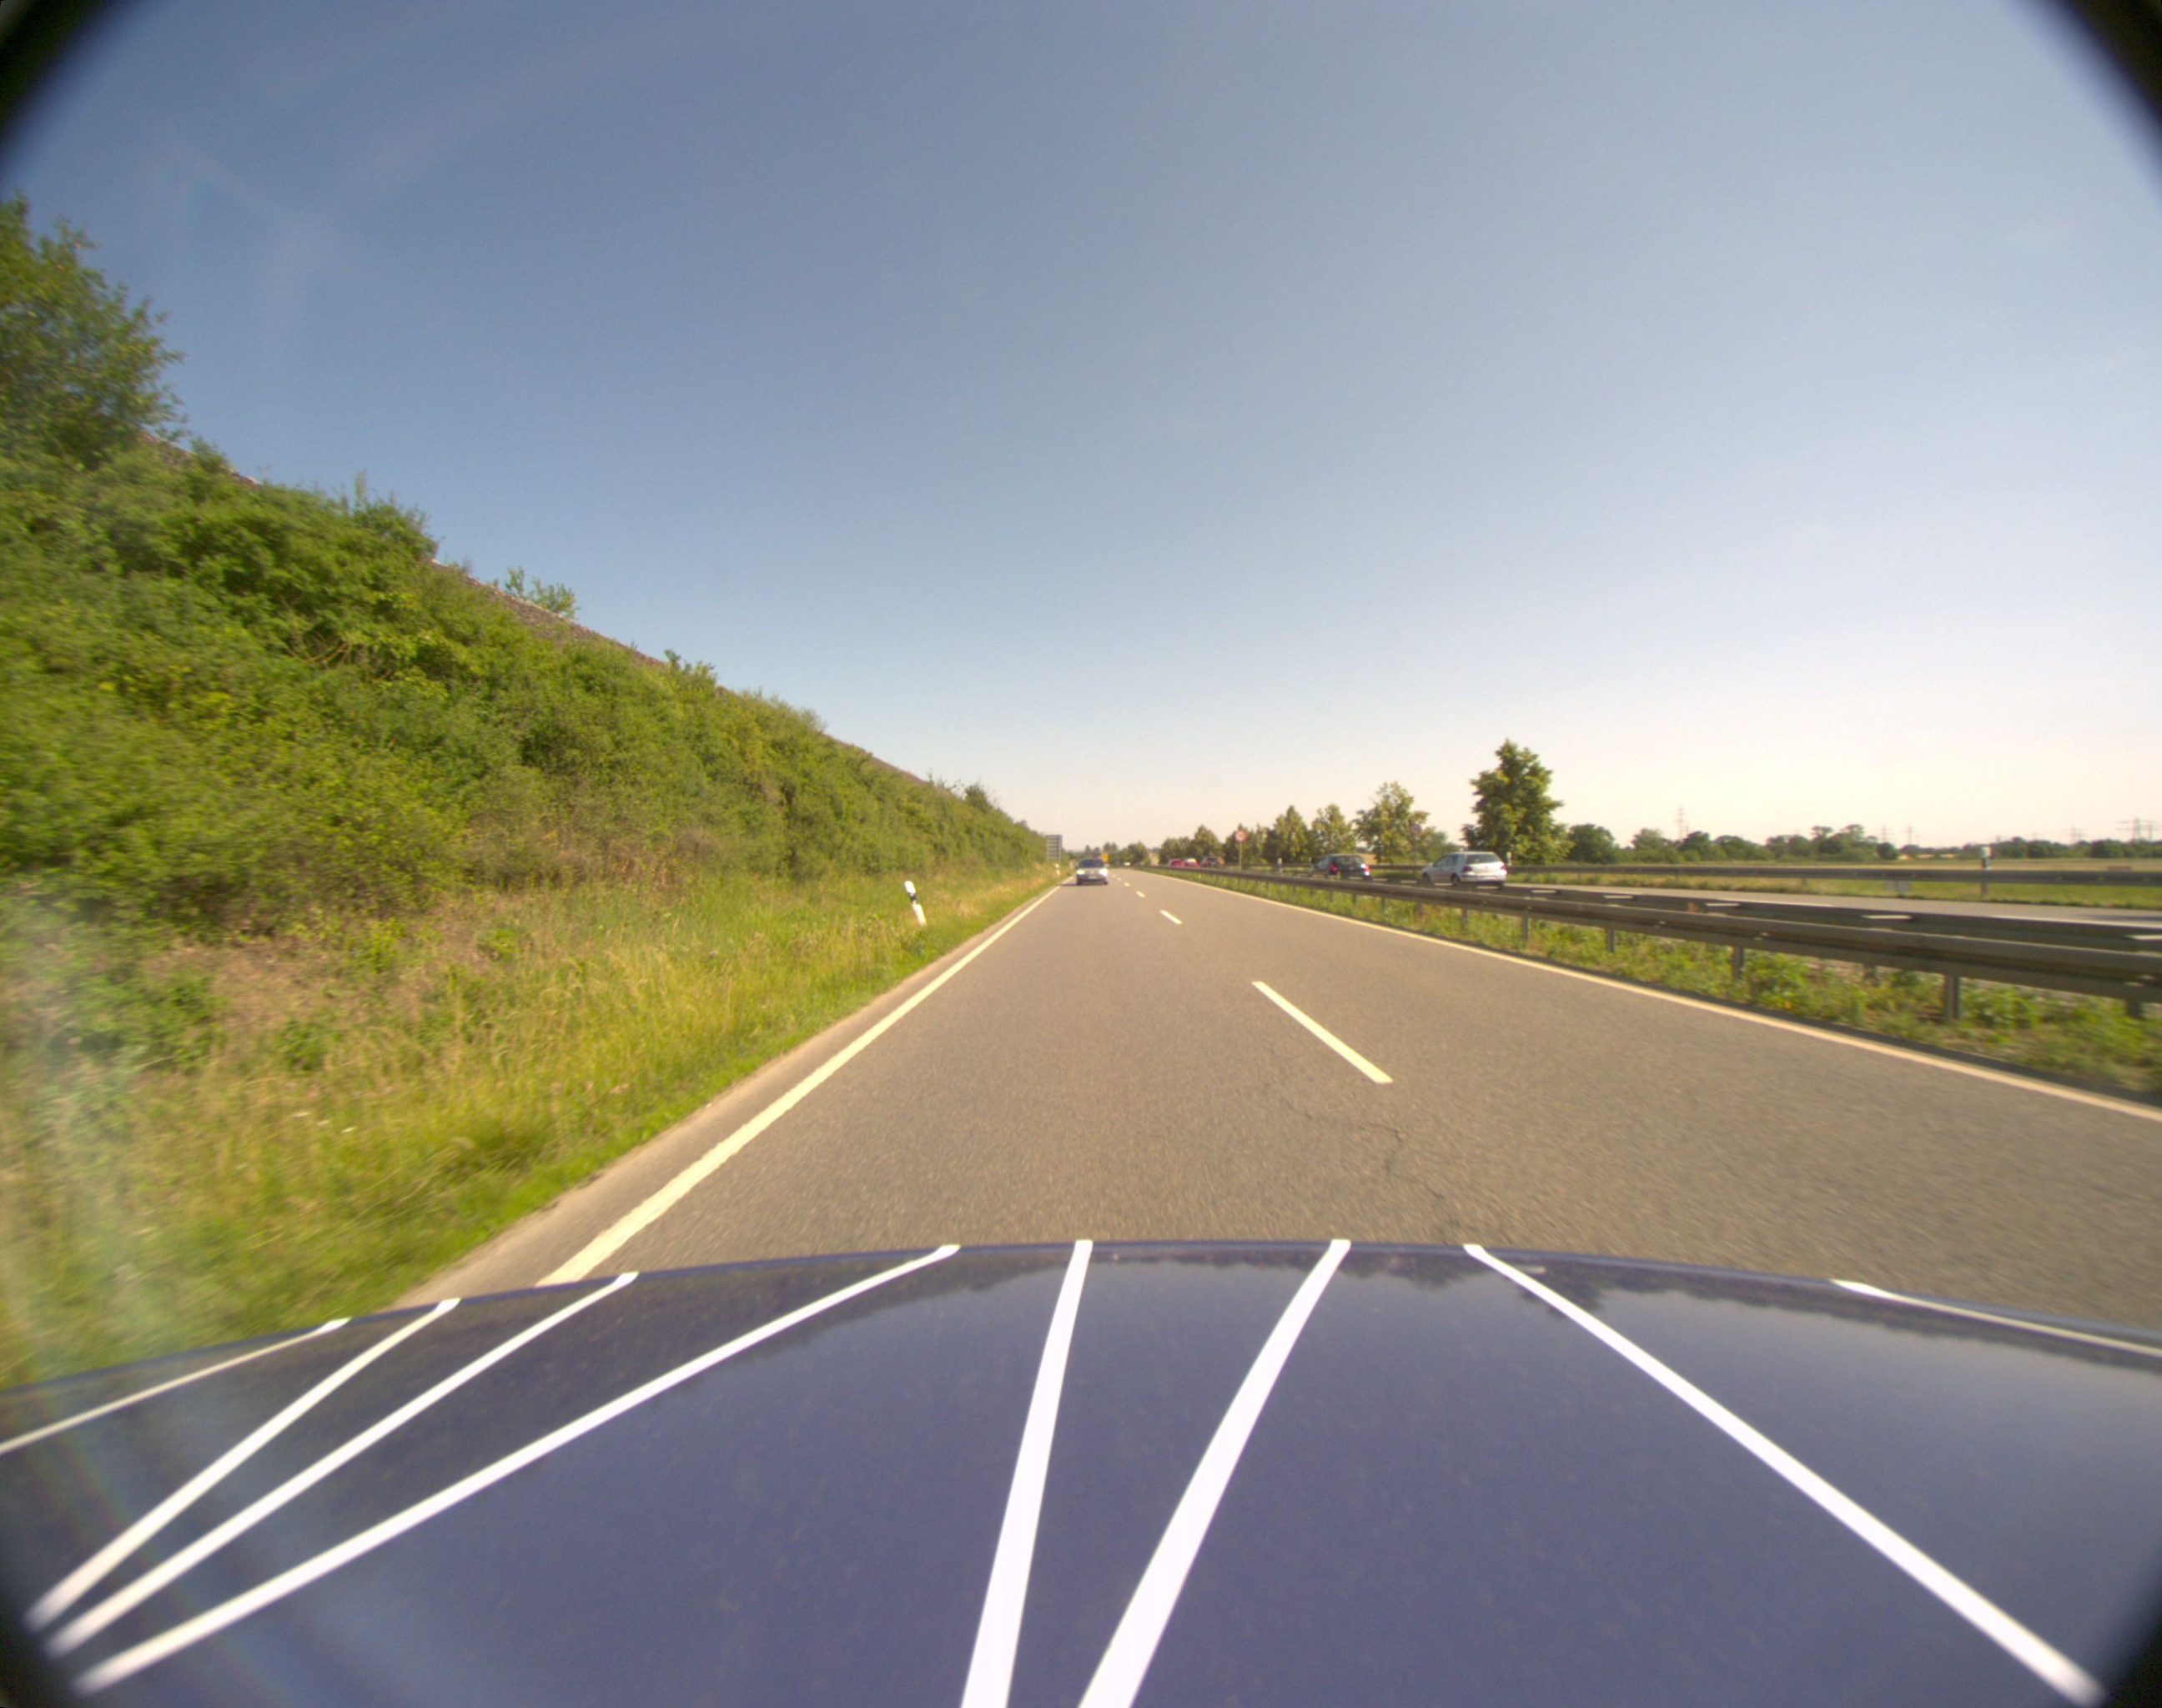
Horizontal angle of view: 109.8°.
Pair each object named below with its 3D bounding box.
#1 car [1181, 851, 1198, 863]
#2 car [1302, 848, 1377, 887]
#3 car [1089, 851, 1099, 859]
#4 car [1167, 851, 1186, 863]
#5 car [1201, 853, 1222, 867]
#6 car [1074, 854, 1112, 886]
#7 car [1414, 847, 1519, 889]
[{"bbox_3d":[16.203,0.449,113.299,1.848,1.584,4.774,-3,0,1],"label":"car"},{"bbox_3d":[11.037,0.532,32.776,1.717,1.461,4.415,-4,0,1],"label":"car"},{"bbox_3d":[2.387,0.184,138.032,1.790,1.212,4.000,-2,1,1],"label":"car"},{"bbox_3d":[12.615,0.427,100.391,1.881,1.484,5.095,-2,0,1],"label":"car"},{"bbox_3d":[15.542,0.667,90.765,1.730,1.586,4.221,-2,0,1],"label":"car"},{"bbox_3d":[0.695,0.835,41.779,1.854,1.635,4.001,-2,0,4],"label":"car"},{"bbox_3d":[14.701,0.507,29.279,1.826,1.388,4.415,-4,0,1],"label":"car"}]
